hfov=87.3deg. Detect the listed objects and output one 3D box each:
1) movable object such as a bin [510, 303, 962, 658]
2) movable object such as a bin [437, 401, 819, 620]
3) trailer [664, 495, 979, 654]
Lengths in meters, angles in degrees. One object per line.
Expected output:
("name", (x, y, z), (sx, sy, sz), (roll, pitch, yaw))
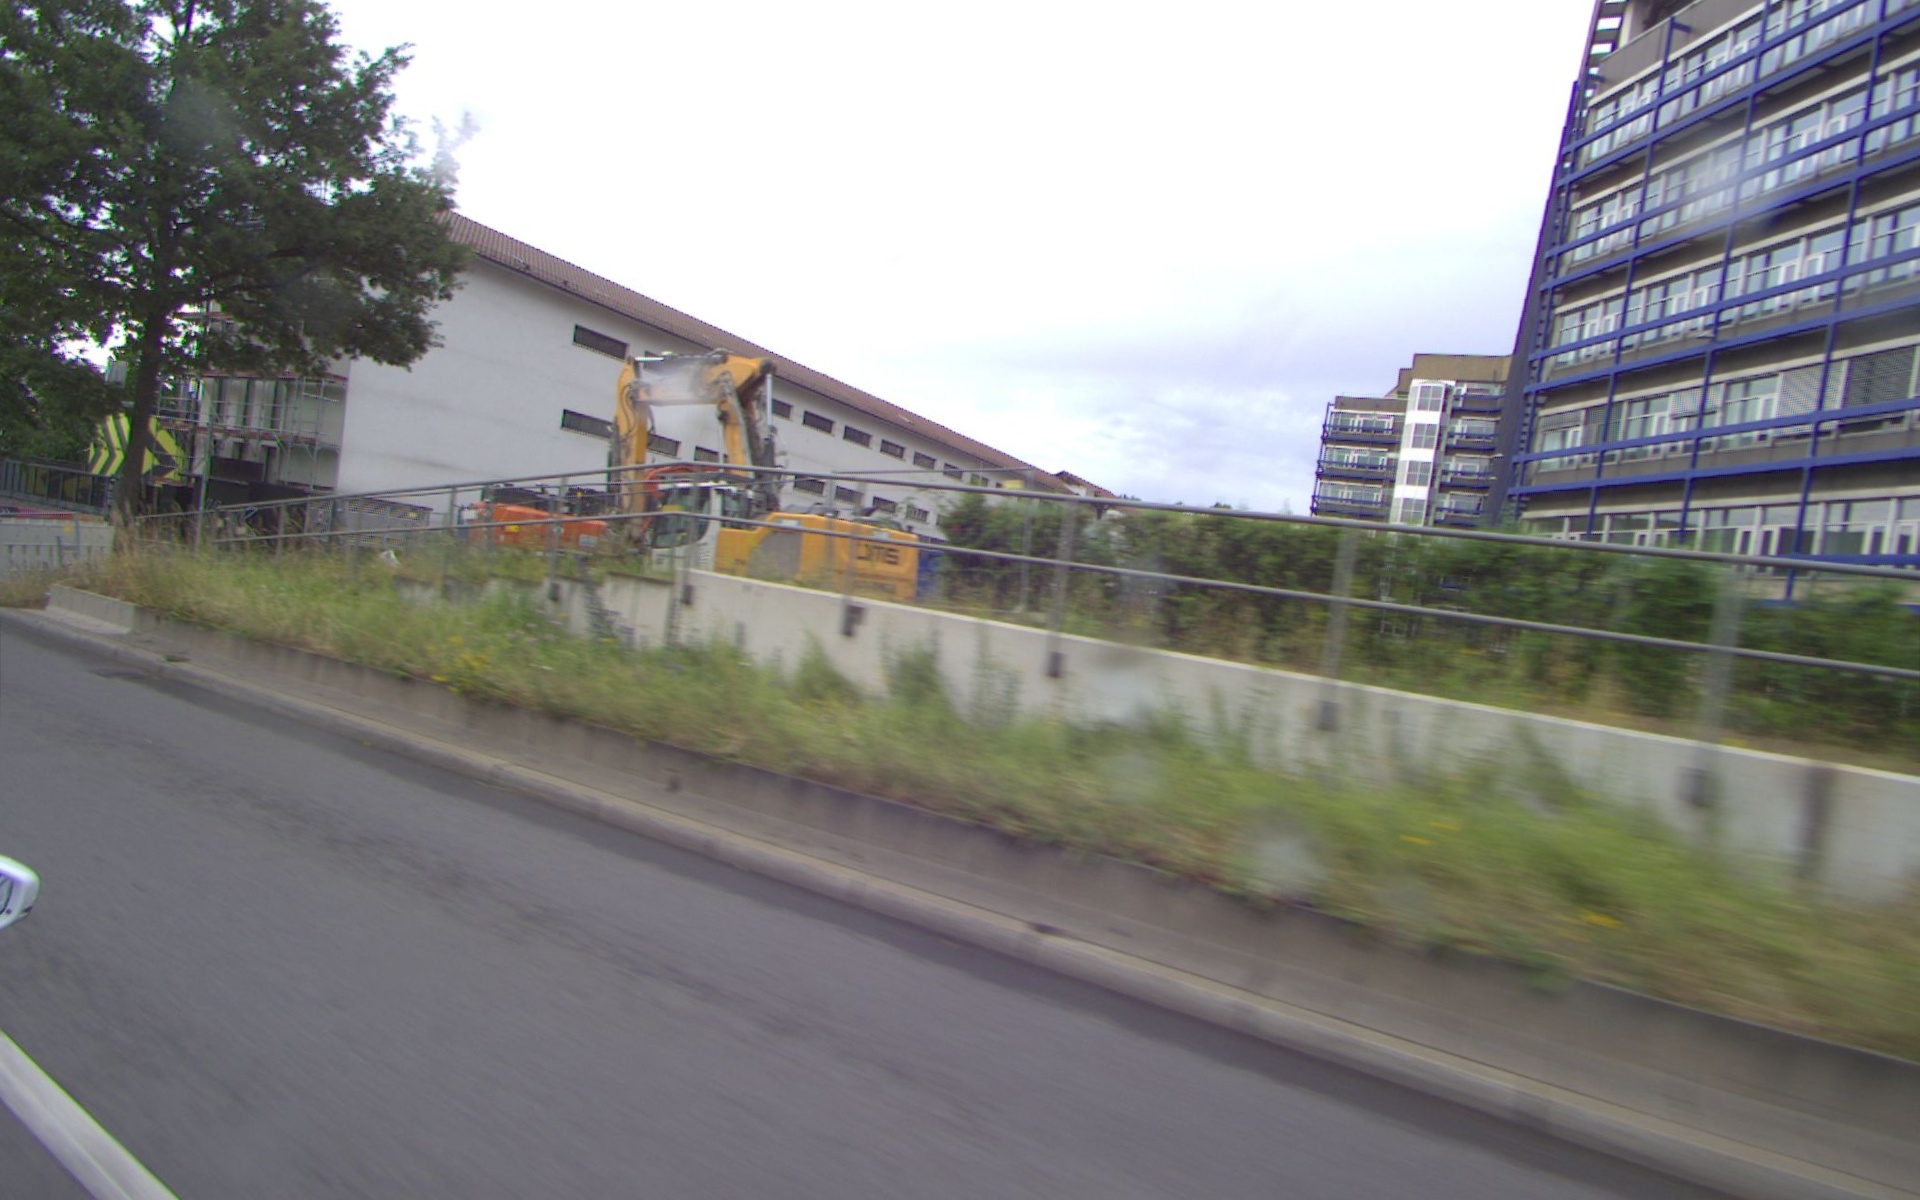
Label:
("movable object such as a bin", (-4.753, -2.258, 20.415), (8.622, 5.750, 3.295), (6, -2, 33))
("movable object such as a bin", (-10.114, -2.436, 33.101), (3.726, 5.326, 12.157), (6, 0, 30))
("trailer", (-3.477, -0.608, 26.133), (7.355, 3.077, 2.650), (7, -2, 8))
